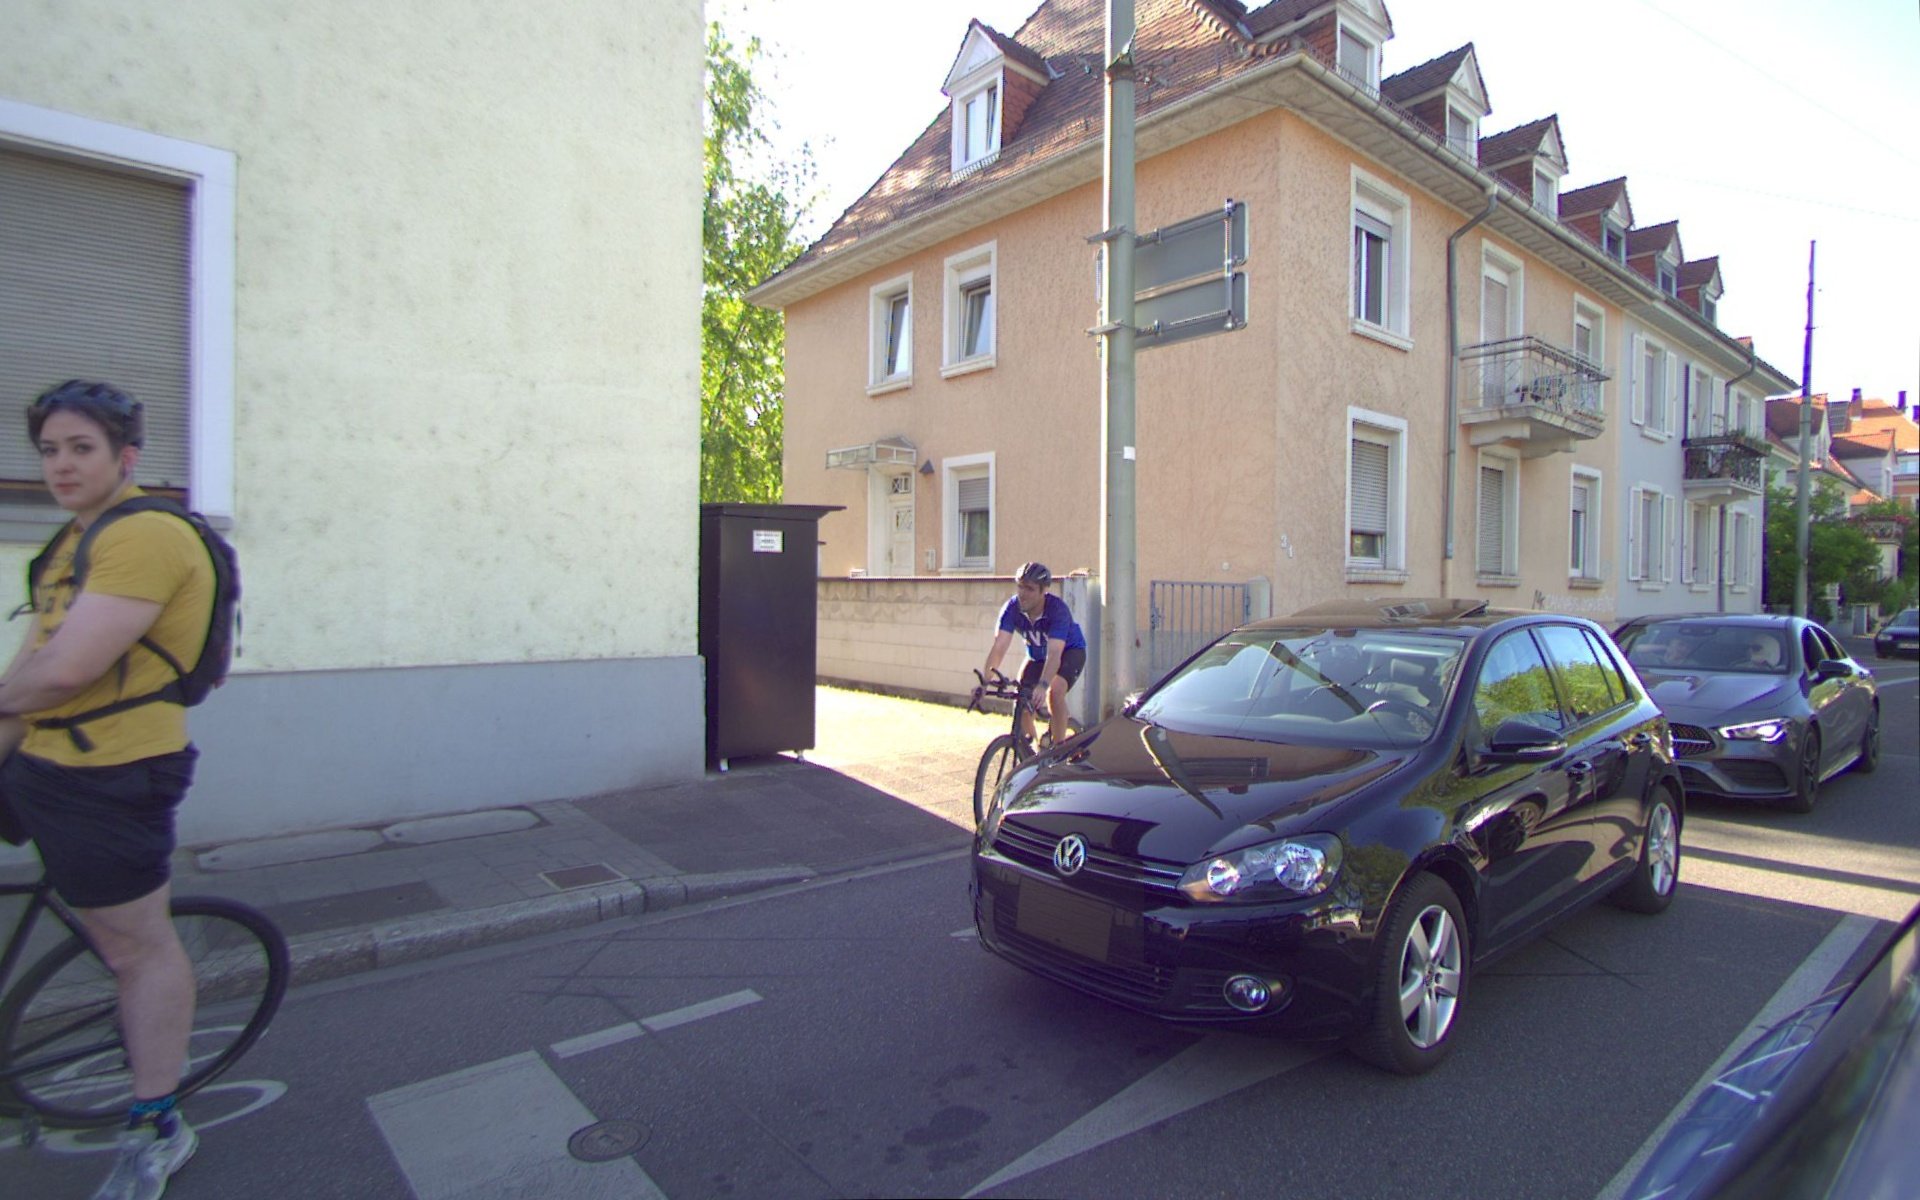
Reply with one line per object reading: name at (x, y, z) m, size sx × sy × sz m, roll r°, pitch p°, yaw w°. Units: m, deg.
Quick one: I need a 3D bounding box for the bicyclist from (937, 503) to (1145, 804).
bicyclist at (0.513, 0.282, 6.427) m, size 1.014 × 1.714 × 0.721 m, roll 5°, pitch 4°, yaw 33°

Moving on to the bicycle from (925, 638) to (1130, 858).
bicycle at (0.482, 0.858, 6.458) m, size 0.552 × 1.088 × 1.607 m, roll 5°, pitch 4°, yaw 32°

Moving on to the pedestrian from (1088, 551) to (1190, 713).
pedestrian at (1.923, 0.319, 10.923) m, size 0.600 × 1.624 × 0.760 m, roll 0°, pitch 6°, yaw -43°

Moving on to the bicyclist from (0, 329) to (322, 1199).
bicyclist at (-2.178, 0.429, 2.510) m, size 0.777 × 1.991 × 0.768 m, roll 0°, pitch 0°, yaw 36°

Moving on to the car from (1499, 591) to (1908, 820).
car at (6.452, 0.696, 8.579) m, size 4.410 × 1.449 × 1.824 m, roll 1°, pitch 0°, yaw -40°

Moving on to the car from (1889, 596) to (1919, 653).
car at (26.768, 0.634, 27.433) m, size 4.258 × 1.448 × 1.824 m, roll -1°, pitch 0°, yaw -40°

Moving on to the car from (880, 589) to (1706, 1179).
car at (1.731, 0.692, 4.471) m, size 3.921 × 1.456 × 1.716 m, roll -1°, pitch 0°, yaw -41°

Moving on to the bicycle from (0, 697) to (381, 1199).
bicycle at (-2.436, 0.881, 2.364) m, size 0.777 × 1.120 × 1.720 m, roll 0°, pitch 0°, yaw 36°
